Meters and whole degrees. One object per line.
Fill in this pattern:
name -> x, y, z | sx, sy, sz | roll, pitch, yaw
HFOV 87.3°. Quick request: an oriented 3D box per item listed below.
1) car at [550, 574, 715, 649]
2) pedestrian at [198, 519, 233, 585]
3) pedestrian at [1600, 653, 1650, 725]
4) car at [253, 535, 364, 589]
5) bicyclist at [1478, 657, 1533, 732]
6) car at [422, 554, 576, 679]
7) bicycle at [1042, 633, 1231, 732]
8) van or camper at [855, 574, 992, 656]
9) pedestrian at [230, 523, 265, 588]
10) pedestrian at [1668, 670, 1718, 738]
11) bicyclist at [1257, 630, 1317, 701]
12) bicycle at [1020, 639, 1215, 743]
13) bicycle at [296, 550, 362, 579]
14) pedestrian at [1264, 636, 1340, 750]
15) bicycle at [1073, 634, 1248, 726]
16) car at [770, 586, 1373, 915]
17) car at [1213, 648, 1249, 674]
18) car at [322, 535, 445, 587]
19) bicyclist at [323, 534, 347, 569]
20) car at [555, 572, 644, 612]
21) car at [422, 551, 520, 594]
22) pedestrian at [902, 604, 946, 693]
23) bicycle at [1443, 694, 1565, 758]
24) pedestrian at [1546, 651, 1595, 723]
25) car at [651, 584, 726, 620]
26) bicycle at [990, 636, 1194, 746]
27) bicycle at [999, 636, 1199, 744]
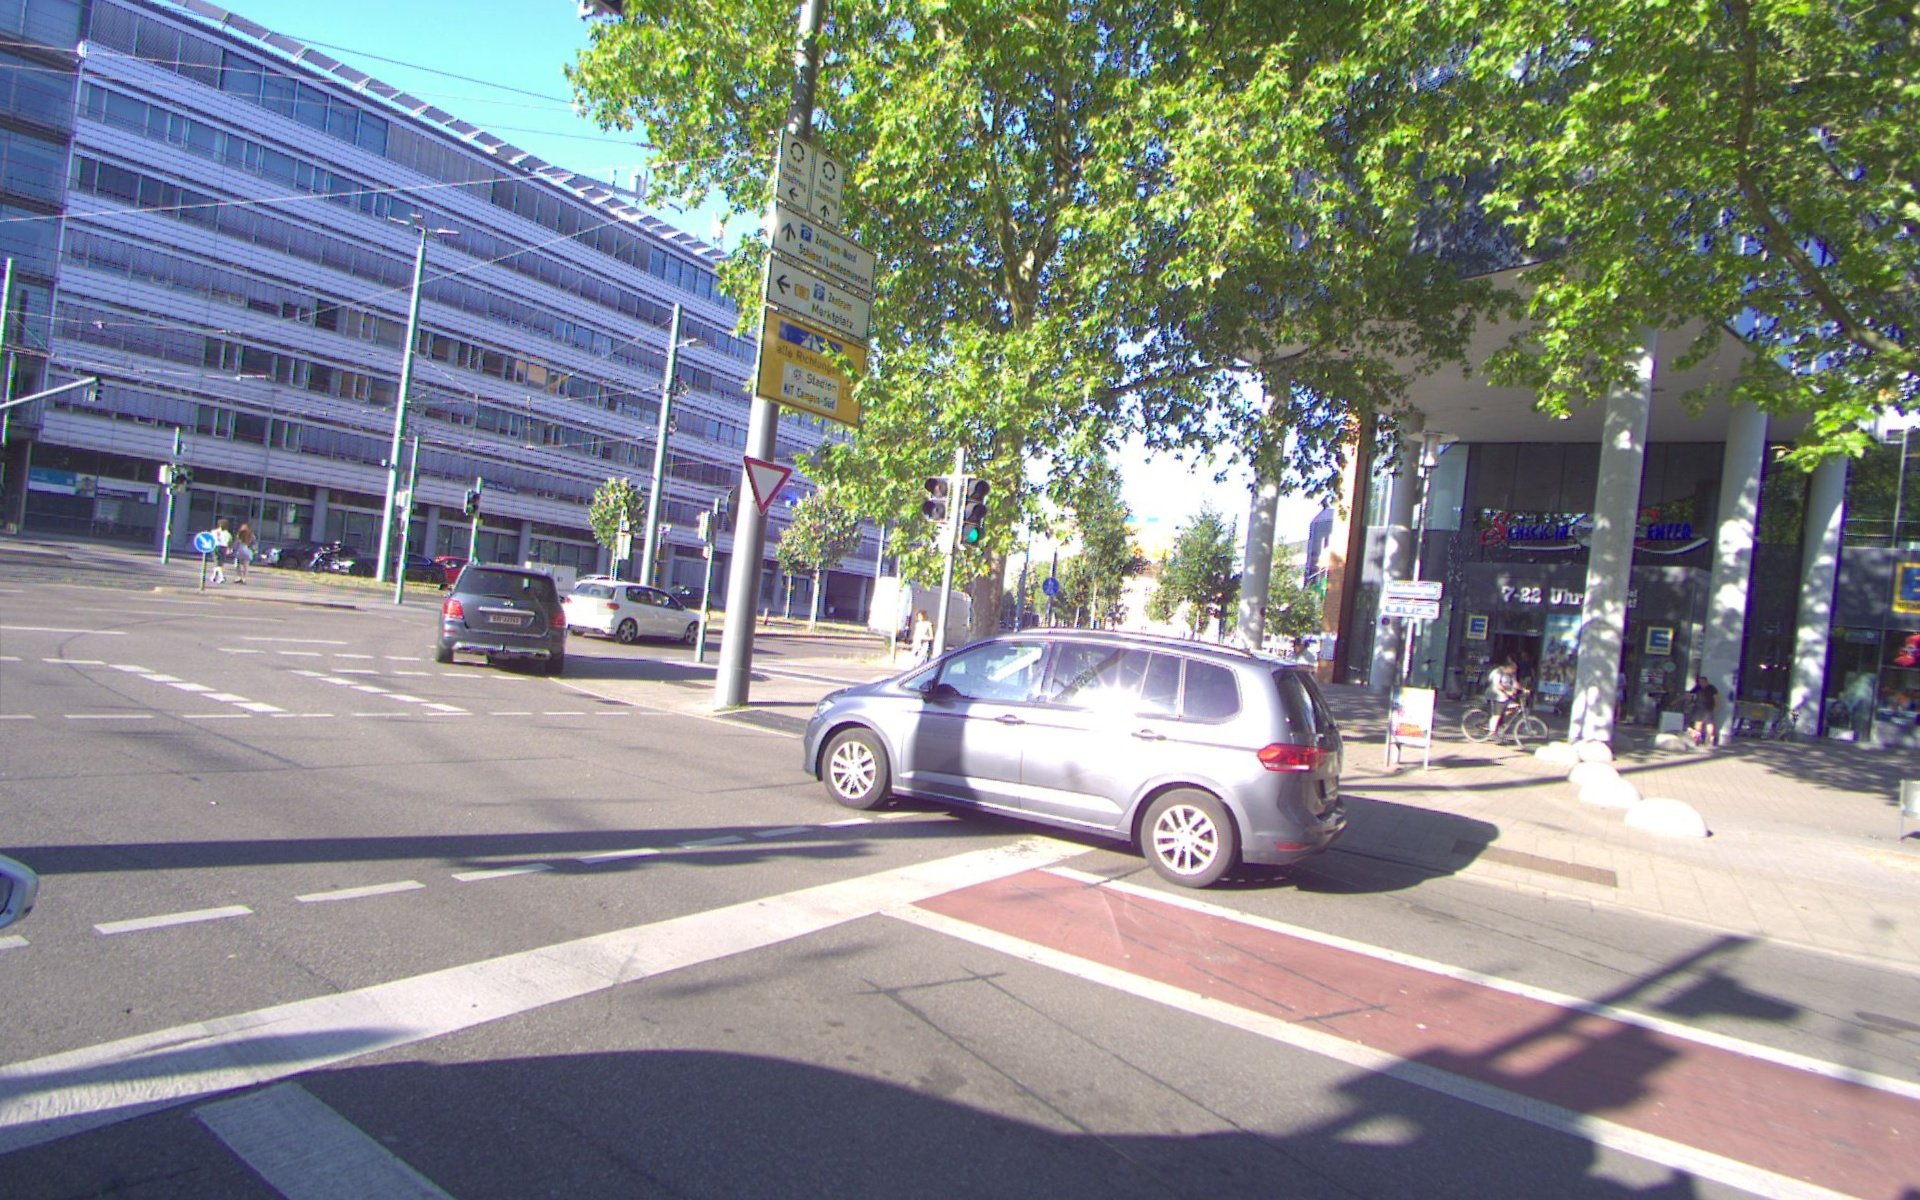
car -> -8.131, 0.346, 25.379 | 1.610, 1.445, 3.987 | 7, -2, 23
pedestrian -> -21.274, -1.368, 28.760 | 0.673, 1.780, 0.734 | 6, 1, -37
pedestrian -> 19.951, 2.666, 30.187 | 0.818, 2.037, 0.825 | 7, -1, -33
car -> -32.131, -1.832, 49.688 | 1.967, 2.036, 3.995 | 6, -3, 32
bicyclist -> 11.635, 2.004, 21.465 | 0.587, 1.504, 0.743 | 3, 1, -38
car -> -7.760, 0.191, 16.709 | 1.752, 1.655, 4.217 | 8, -2, -31
bicycle -> 2.882, 1.343, 16.652 | 2.896, 1.251, 0.705 | 6, -3, 31
van or camper -> -1.283, 0.687, 40.017 | 1.973, 2.646, 6.485 | 6, -1, 31
pedestrian -> -20.675, -1.298, 29.189 | 0.680, 1.780, 0.734 | 6, 1, -38
pedestrian -> 20.242, 2.873, 27.784 | 0.641, 1.765, 0.828 | 6, 1, -41
bicyclist -> 7.981, 1.605, 24.559 | 1.016, 1.585, 0.804 | 5, -1, 42
bicycle -> 2.467, 1.419, 16.022 | 2.896, 1.252, 0.705 | 6, -2, 32
bicycle -> -28.537, -1.599, 45.529 | 0.627, 1.035, 2.409 | 6, 0, 36
pedestrian -> 6.142, 1.650, 18.102 | 0.800, 1.913, 0.871 | 5, 1, -16
bicycle -> 3.546, 1.407, 17.974 | 2.896, 1.250, 0.698 | 6, -4, 31
car -> 0.799, 0.990, 8.013 | 4.315, 1.655, 1.710 | 6, -1, 29
car -> 19.087, 4.294, 70.704 | 1.470, 1.476, 3.593 | 6, -2, 30
car -> -25.675, -1.710, 44.925 | 1.854, 1.744, 4.255 | 6, -1, 34
bicyclist -> -28.366, -2.198, 45.665 | 0.604, 1.521, 0.663 | 7, 1, 37
car -> -19.281, -0.415, 53.928 | 1.852, 1.614, 3.991 | 6, -3, 35
car -> -24.726, -1.387, 50.955 | 1.770, 1.569, 3.989 | 5, -3, 37
pedestrian -> -0.694, 0.932, 19.353 | 0.523, 1.644, 0.543 | 6, 1, 19
bicycle -> 11.578, 2.661, 21.489 | 0.596, 1.028, 2.173 | 4, 1, -37
pedestrian -> 18.461, 2.630, 30.415 | 0.813, 2.037, 0.840 | 7, -2, -34
car -> -16.702, 0.135, 62.020 | 1.852, 1.614, 4.121 | 6, -3, 35
bicycle -> 1.939, 1.325, 15.105 | 2.896, 1.252, 0.705 | 6, -2, 32
bicycle -> 2.087, 1.346, 15.409 | 2.896, 1.243, 0.686 | 6, -2, 32
